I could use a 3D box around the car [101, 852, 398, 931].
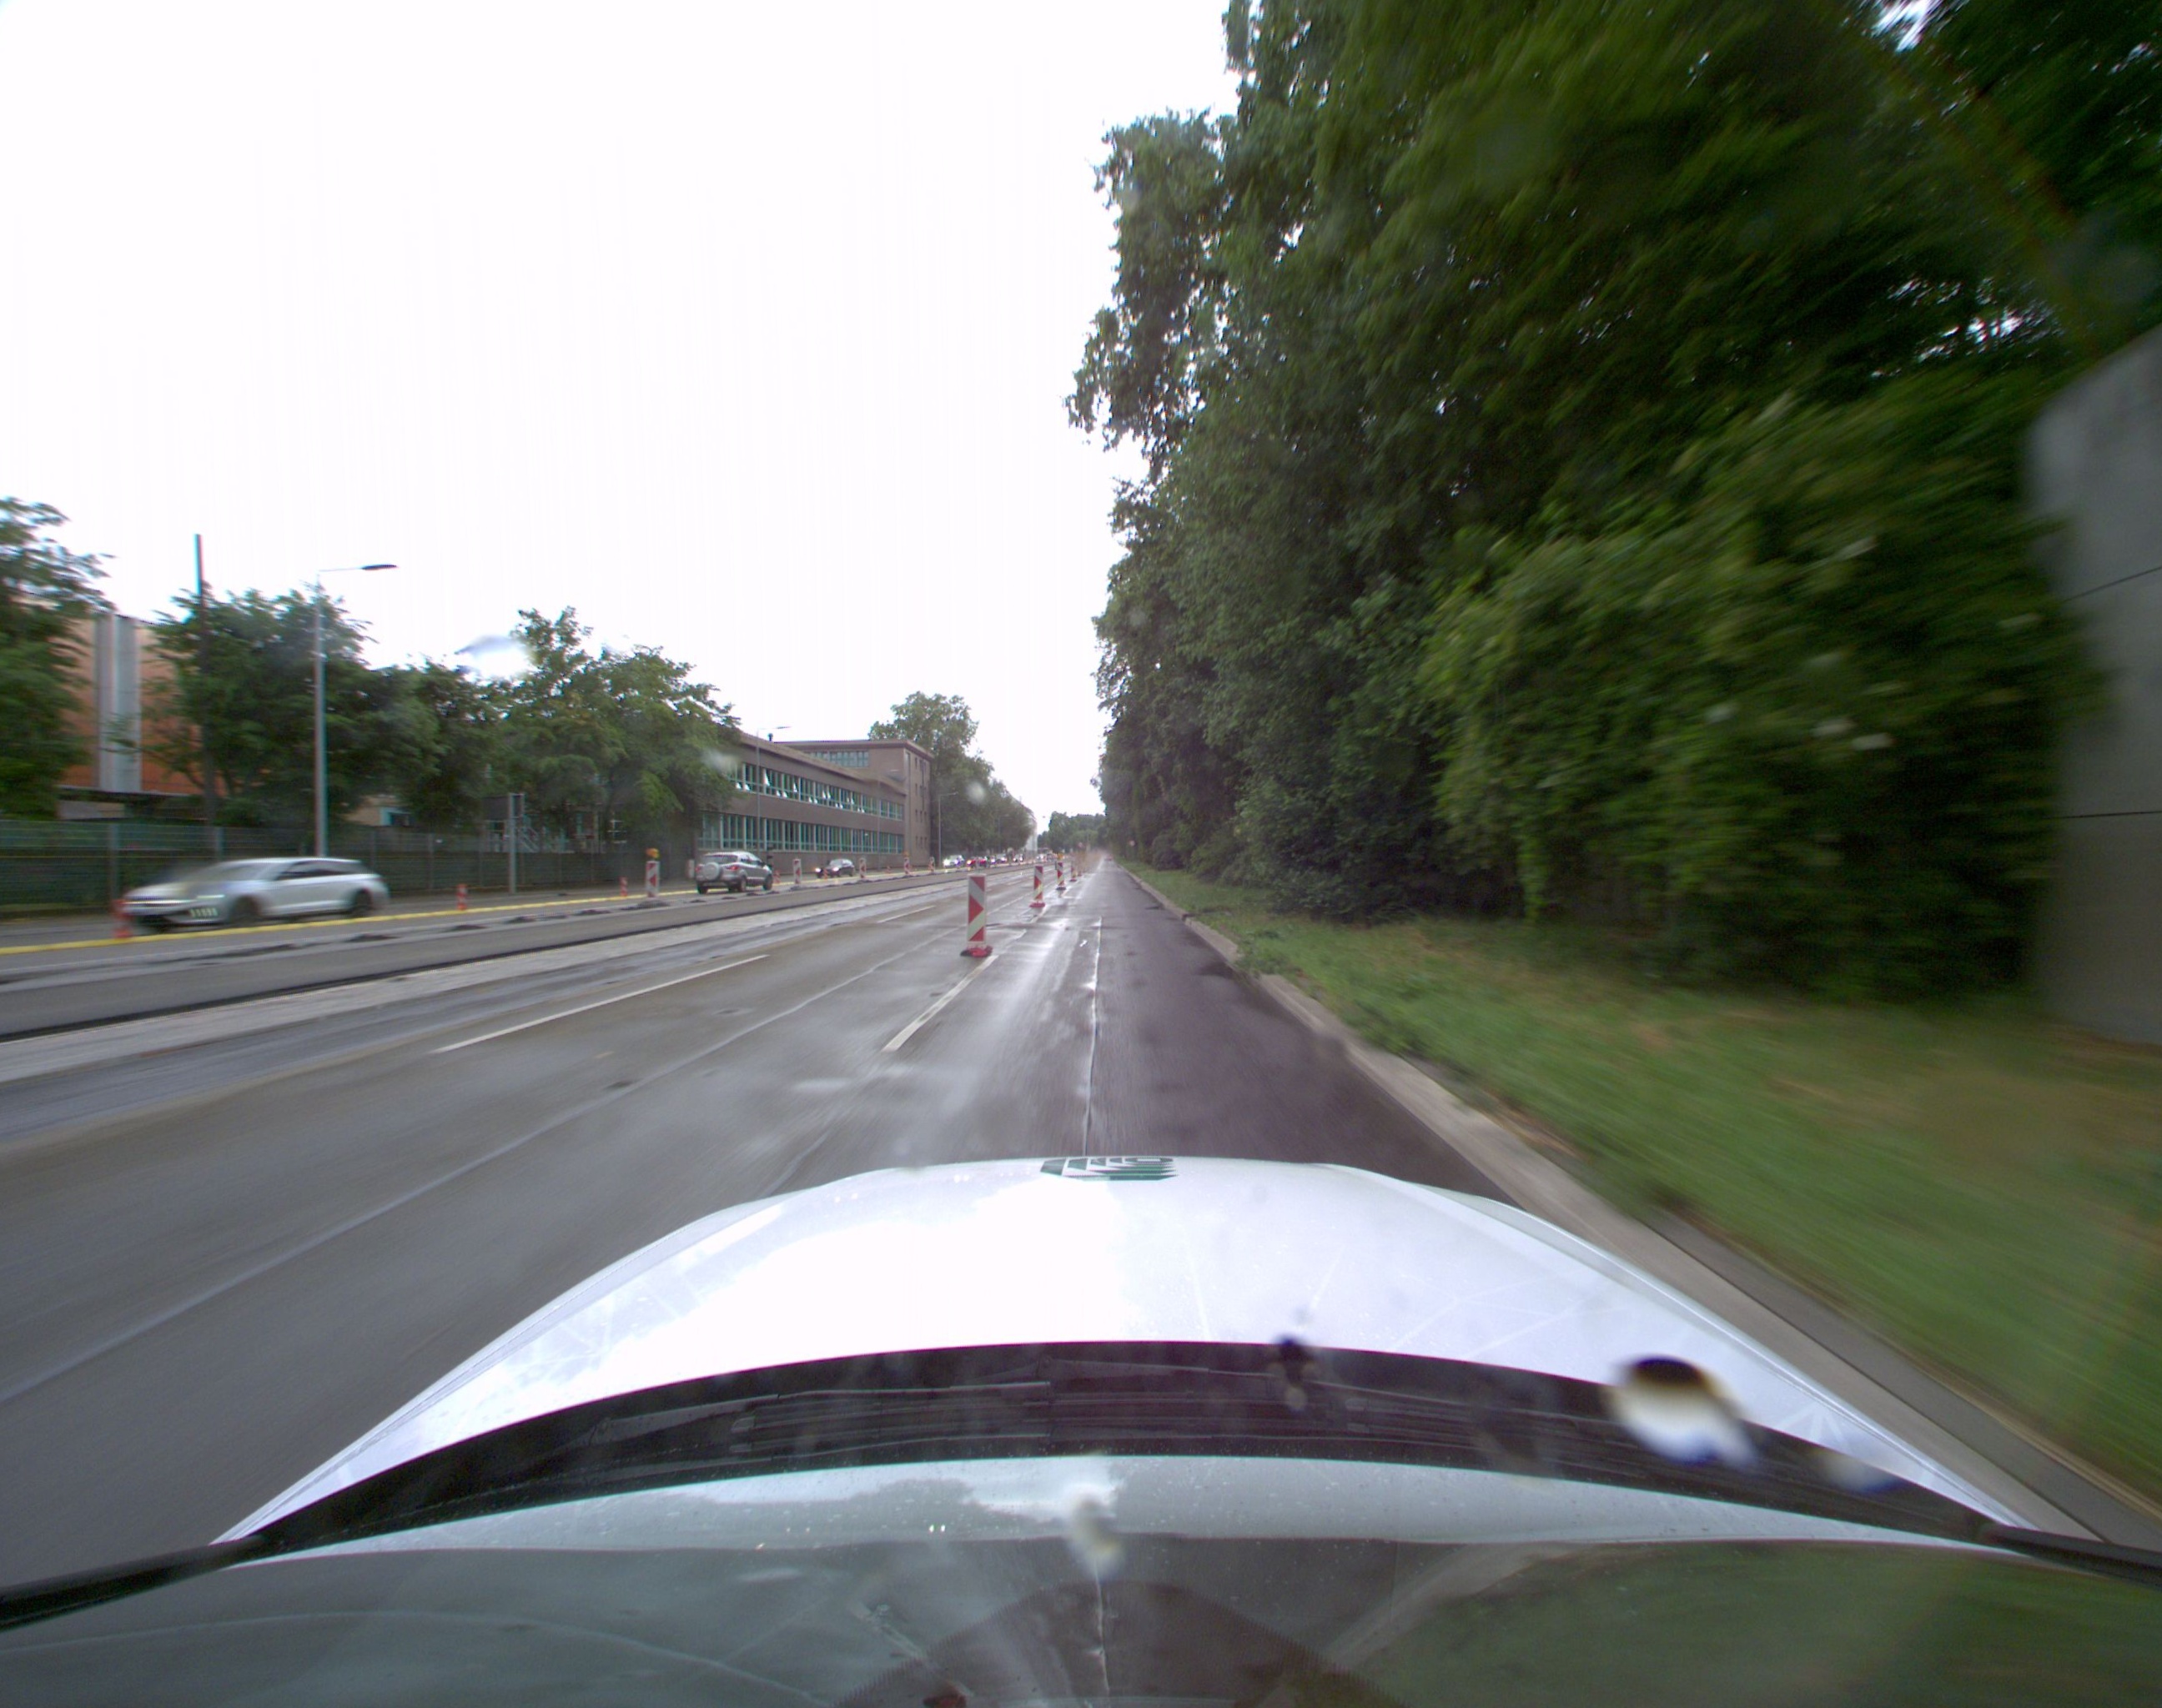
[{"bbox_3d":[-17.709,0.709,17.715,1.986,1.513,4.268,0,0,2],"label":"car"}]

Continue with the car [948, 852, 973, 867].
[{"bbox_3d":[-14.586,0.628,98.791,1.980,1.768,4.678,0,0,3],"label":"car"}]

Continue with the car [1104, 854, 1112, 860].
[{"bbox_3d":[6.885,0.726,204.643,1.986,1.673,4.002,0,0,2],"label":"car"}]

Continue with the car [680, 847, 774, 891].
[{"bbox_3d":[-13.930,0.573,32.302,1.848,1.648,4.001,0,0,2],"label":"car"}]

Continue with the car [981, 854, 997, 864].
[{"bbox_3d":[-14.513,0.813,128.746,1.886,1.502,4.520,0,0,3],"label":"car"}]

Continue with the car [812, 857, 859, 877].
[{"bbox_3d":[-18.811,0.953,62.581,2.038,1.454,4.766,0,0,2],"label":"car"}]

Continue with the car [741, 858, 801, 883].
[{"bbox_3d":[-18.708,0.953,49.370,1.987,1.429,4.265,0,0,0],"label":"car"}]

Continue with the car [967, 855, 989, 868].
[{"bbox_3d":[-12.129,0.864,96.327,1.986,1.519,4.001,0,0,1],"label":"car"}]

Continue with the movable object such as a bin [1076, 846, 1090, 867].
[{"bbox_3d":[0.367,0.470,133.617,1.986,3.367,5.984,0,0,2],"label":"movable object such as a bin"}]
